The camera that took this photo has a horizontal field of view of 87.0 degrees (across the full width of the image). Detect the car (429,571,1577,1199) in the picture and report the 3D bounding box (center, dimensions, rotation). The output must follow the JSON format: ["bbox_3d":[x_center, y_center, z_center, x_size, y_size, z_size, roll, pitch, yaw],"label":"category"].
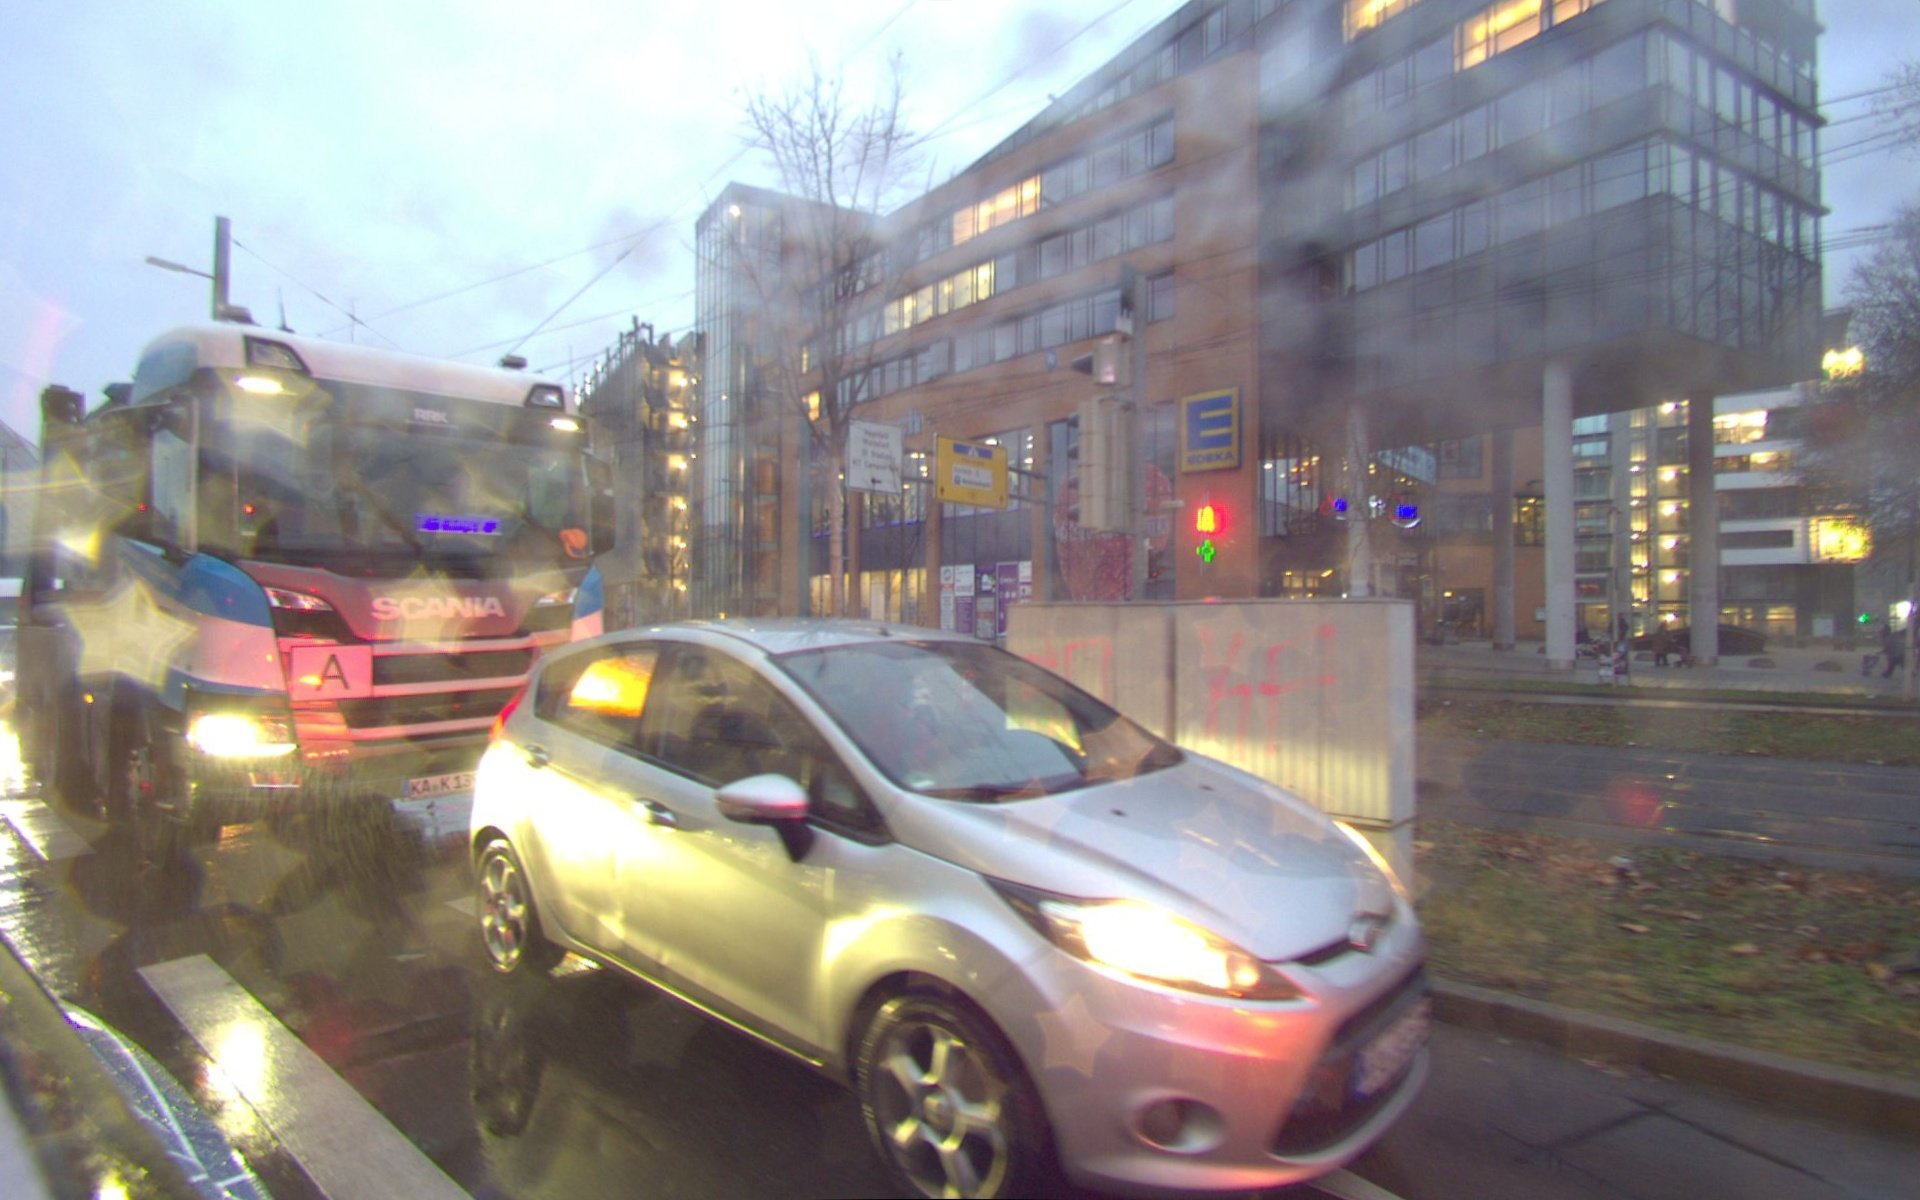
[{"bbox_3d":[-0.283,0.725,3.636,4.000,1.459,1.686,-2,-1,43],"label":"car"}]

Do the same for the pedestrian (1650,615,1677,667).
[{"bbox_3d":[24.306,1.415,34.954,0.564,1.787,0.638,2,-2,-43],"label":"pedestrian"}]

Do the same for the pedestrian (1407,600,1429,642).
[{"bbox_3d":[19.275,0.895,42.611,0.703,1.766,0.564,-1,-2,39],"label":"pedestrian"}]

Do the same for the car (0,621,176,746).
[{"bbox_3d":[-12.979,1.108,14.792,3.939,1.535,1.613,0,-1,41],"label":"car"}]

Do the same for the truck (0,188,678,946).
[{"bbox_3d":[-5.730,-0.086,8.405,7.521,3.661,2.810,-1,-2,40],"label":"truck"}]

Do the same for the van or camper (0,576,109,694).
[{"bbox_3d":[-22.606,0.828,24.479,5.894,2.551,2.126,-1,-2,40],"label":"van or camper"}]

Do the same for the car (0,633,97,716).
[{"bbox_3d":[-17.338,1.307,18.664,4.057,1.355,1.736,-2,-2,43],"label":"car"}]

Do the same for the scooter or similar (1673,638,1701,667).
[{"bbox_3d":[24.755,1.788,34.454,0.545,0.968,0.667,2,-2,-43],"label":"scooter or similar"}]

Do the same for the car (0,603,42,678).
[{"bbox_3d":[-39.212,1.606,40.879,5.803,2.885,2.104,-1,-2,37],"label":"car"}]

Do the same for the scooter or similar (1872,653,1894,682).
[{"bbox_3d":[28.431,2.076,31.167,0.545,0.856,0.433,2,-2,-43],"label":"scooter or similar"}]

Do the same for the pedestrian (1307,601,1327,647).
[{"bbox_3d":[13.903,0.921,39.420,0.658,1.766,0.534,0,-2,12],"label":"pedestrian"}]

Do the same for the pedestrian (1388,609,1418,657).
[{"bbox_3d":[16.630,1.233,37.998,0.782,1.766,0.704,0,-2,-1],"label":"pedestrian"}]

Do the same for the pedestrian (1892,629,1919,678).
[{"bbox_3d":[28.831,1.607,30.755,0.564,1.470,0.685,2,-2,-43],"label":"pedestrian"}]

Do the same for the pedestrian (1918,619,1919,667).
[{"bbox_3d":[36.257,1.607,37.665,0.733,1.773,0.810,-1,-2,35],"label":"pedestrian"}]
